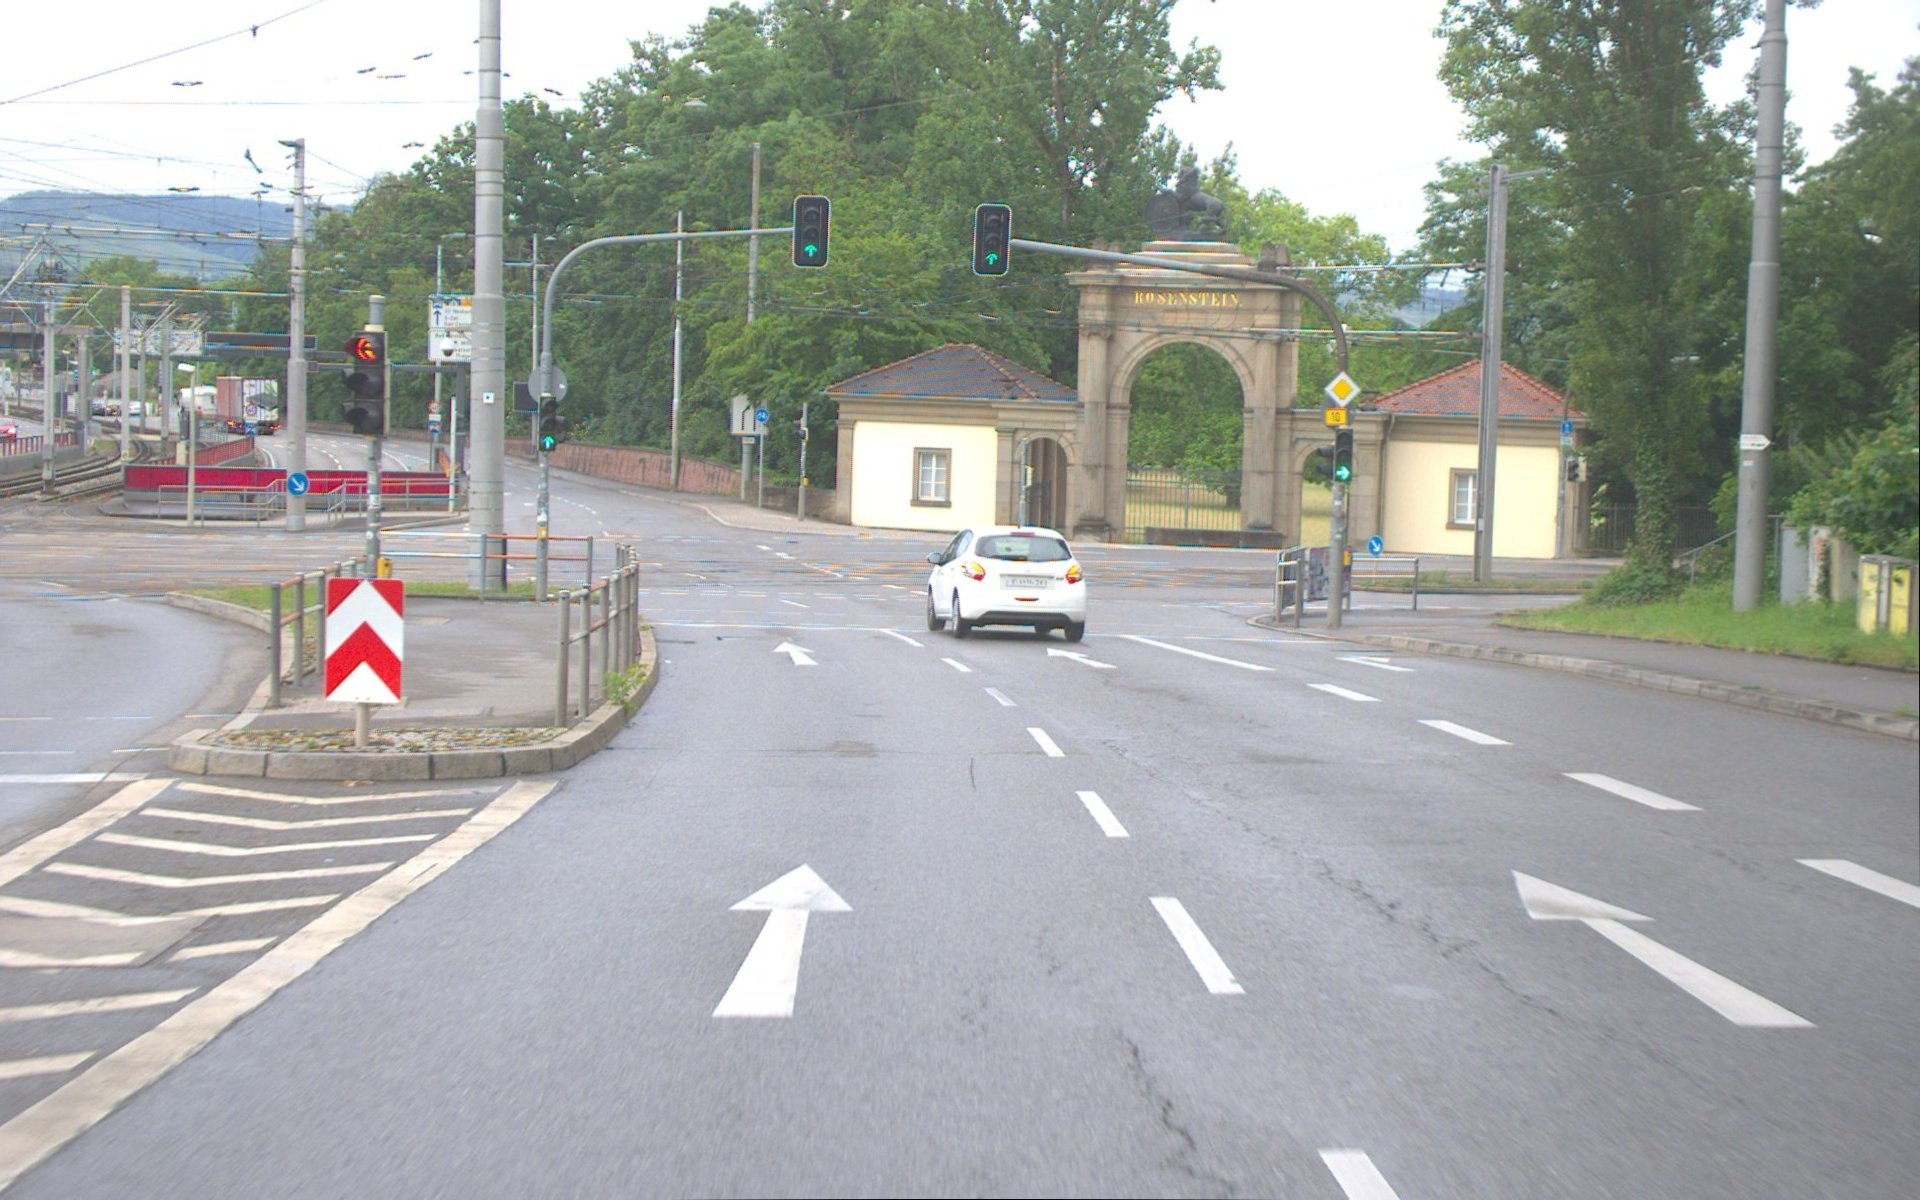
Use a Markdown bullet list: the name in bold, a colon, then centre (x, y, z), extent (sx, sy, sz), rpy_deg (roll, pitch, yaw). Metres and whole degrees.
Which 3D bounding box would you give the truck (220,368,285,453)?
- **truck**: centre (-50.231, -13.355, 243.887), extent (3.463, 5.382, 12.055), rpy_deg (1, 0, -16)

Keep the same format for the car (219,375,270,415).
- **car**: centre (-34.760, -9.957, 166.957), extent (1.993, 1.866, 4.002), rpy_deg (-1, 3, -18)

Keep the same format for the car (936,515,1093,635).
- **car**: centre (0.695, -0.312, 45.555), extent (1.955, 1.483, 4.000), rpy_deg (1, 0, 0)
